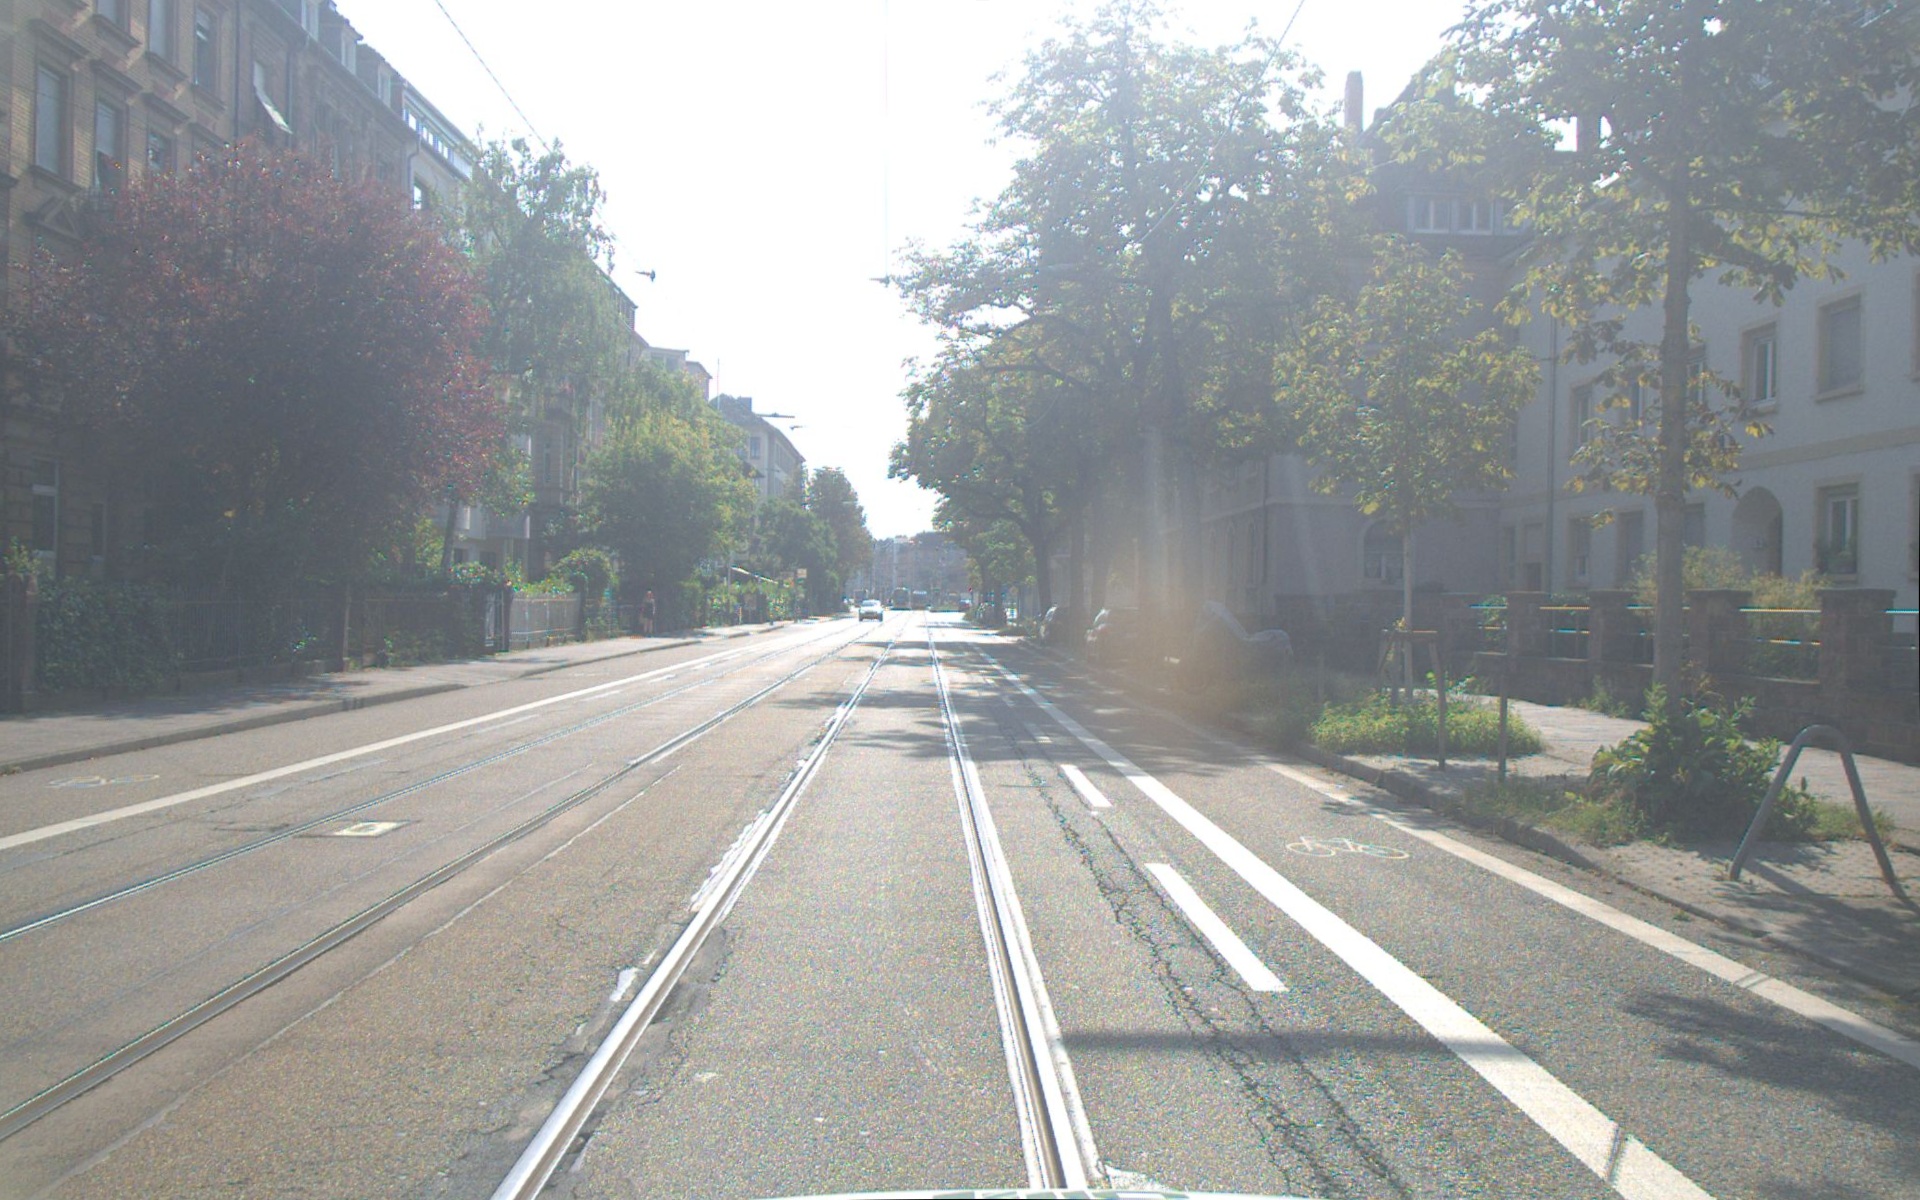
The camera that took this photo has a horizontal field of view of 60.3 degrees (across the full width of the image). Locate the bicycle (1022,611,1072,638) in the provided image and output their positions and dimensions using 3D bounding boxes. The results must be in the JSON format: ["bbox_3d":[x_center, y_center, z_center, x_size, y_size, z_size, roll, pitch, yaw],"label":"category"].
[{"bbox_3d":[3.726,1.033,70.615,2.064,1.125,0.615,-1,0,-3],"label":"bicycle"}]

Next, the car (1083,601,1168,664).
[{"bbox_3d":[4.265,0.809,43.124,1.692,1.531,3.983,-1,0,-2],"label":"car"}]

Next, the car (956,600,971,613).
[{"bbox_3d":[0.493,0.940,243.958,1.952,1.814,4.001,2,0,3],"label":"car"}]

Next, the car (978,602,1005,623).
[{"bbox_3d":[2.221,0.885,117.449,1.736,1.499,3.973,0,-1,-1],"label":"car"}]

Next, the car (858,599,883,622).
[{"bbox_3d":[-6.688,0.749,124.117,1.692,1.666,3.983,1,0,-2],"label":"car"}]

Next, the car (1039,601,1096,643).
[{"bbox_3d":[3.874,0.804,60.141,1.736,1.499,3.973,0,-1,-1],"label":"car"}]

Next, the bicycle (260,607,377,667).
[{"bbox_3d":[-12.276,0.706,31.673,1.976,1.123,0.588,1,0,-5],"label":"bicycle"}]

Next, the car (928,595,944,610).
[{"bbox_3d":[-3.425,0.401,236.118,1.952,2.049,4.001,2,0,2],"label":"car"}]

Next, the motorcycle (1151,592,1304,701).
[{"bbox_3d":[4.393,0.741,27.296,2.378,1.703,0.908,-1,0,43],"label":"motorcycle"}]

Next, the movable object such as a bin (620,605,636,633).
[{"bbox_3d":[-12.845,0.730,64.001,0.578,1.097,0.703,1,0,-8],"label":"movable object such as a bin"}]

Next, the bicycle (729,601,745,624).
[{"bbox_3d":[-12.249,0.701,90.759,0.549,1.242,2.114,1,0,1],"label":"bicycle"}]

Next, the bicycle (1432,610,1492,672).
[{"bbox_3d":[9.593,0.772,31.658,0.416,1.123,1.998,1,0,-4],"label":"bicycle"}]

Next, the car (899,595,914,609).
[{"bbox_3d":[-8.217,0.233,254.330,1.952,2.049,4.001,2,0,1],"label":"car"}]

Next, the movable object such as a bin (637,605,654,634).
[{"bbox_3d":[-12.191,0.757,64.092,0.619,1.097,0.703,1,0,-8],"label":"movable object such as a bin"}]

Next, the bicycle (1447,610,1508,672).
[{"bbox_3d":[9.889,0.772,31.641,0.416,1.123,1.998,1,0,-4],"label":"bicycle"}]

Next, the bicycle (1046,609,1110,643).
[{"bbox_3d":[3.985,0.885,55.956,2.067,1.125,0.562,1,0,-9],"label":"bicycle"}]

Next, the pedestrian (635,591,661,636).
[{"bbox_3d":[-11.257,0.492,59.675,0.737,1.619,0.878,1,0,-1],"label":"pedestrian"}]

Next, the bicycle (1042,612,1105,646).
[{"bbox_3d":[3.868,0.986,56.471,2.067,1.125,0.562,1,0,-9],"label":"bicycle"}]
